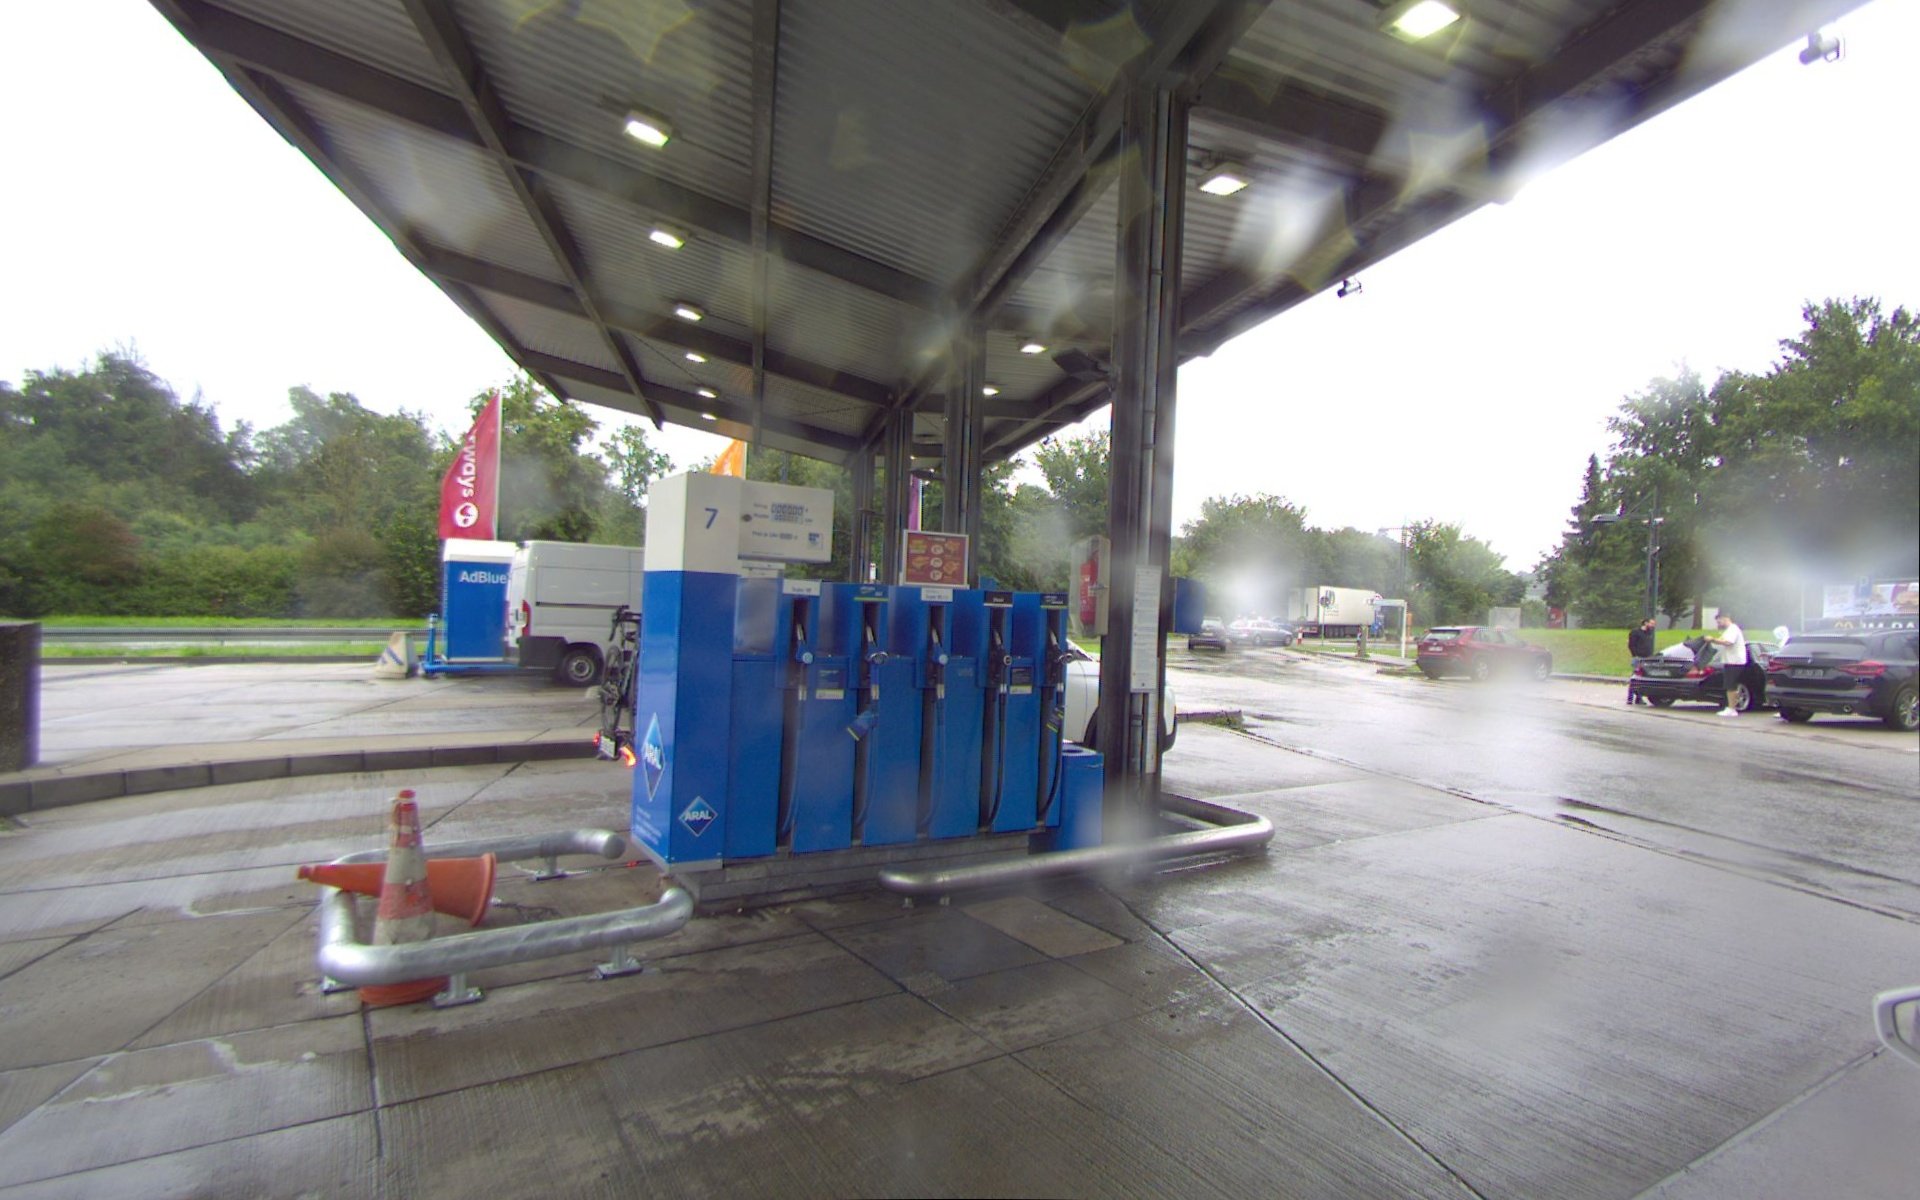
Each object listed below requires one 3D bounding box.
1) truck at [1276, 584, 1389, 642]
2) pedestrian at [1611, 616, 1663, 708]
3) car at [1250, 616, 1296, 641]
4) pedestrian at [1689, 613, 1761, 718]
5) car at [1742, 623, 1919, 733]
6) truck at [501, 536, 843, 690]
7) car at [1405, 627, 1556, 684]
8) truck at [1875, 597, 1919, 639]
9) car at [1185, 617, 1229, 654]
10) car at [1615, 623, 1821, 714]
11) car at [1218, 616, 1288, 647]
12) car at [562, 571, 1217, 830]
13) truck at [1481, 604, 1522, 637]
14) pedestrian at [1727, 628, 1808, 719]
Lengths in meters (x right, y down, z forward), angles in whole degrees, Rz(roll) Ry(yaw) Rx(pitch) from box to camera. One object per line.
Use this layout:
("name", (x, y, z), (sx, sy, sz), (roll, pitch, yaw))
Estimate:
("truck", (31.873, 1.186, 85.144), (3.498, 4.397, 16.922), (2, 0, 40))
("pedestrian", (14.624, 1.321, 21.717), (0.690, 1.912, 0.893), (2, 0, 19))
("car", (22.897, 2.062, 73.429), (1.787, 1.704, 3.934), (2, 0, 40))
("pedestrian", (14.549, 1.221, 19.128), (0.690, 1.912, 0.954), (2, 0, 11))
("car", (16.169, 1.271, 17.460), (4.274, 1.734, 2.016), (1, -1, -18))
("truck", (-5.342, 0.290, 18.932), (5.793, 2.527, 2.221), (2, 0, -30))
("car", (16.072, 1.670, 30.994), (4.283, 1.666, 1.933), (1, -2, -25))
("truck", (68.848, 1.329, 71.695), (5.285, 2.959, 2.191), (2, 0, -5))
("car", (12.257, 1.738, 49.682), (1.960, 1.700, 4.002), (1, -1, 16))
("car", (15.938, 1.357, 21.083), (4.293, 1.734, 2.007), (1, -2, -31))
("car", (17.177, 1.856, 58.756), (3.957, 1.650, 1.761), (2, -1, -33))
("car", (-0.429, 0.699, 8.450), (5.210, 1.629, 1.852), (2, 0, -30))
("truck", (54.767, 2.084, 101.730), (2.436, 3.126, 7.357), (2, 0, 20))
("pedestrian", (15.268, 1.374, 19.007), (0.935, 1.653, 0.704), (2, 0, -1))
